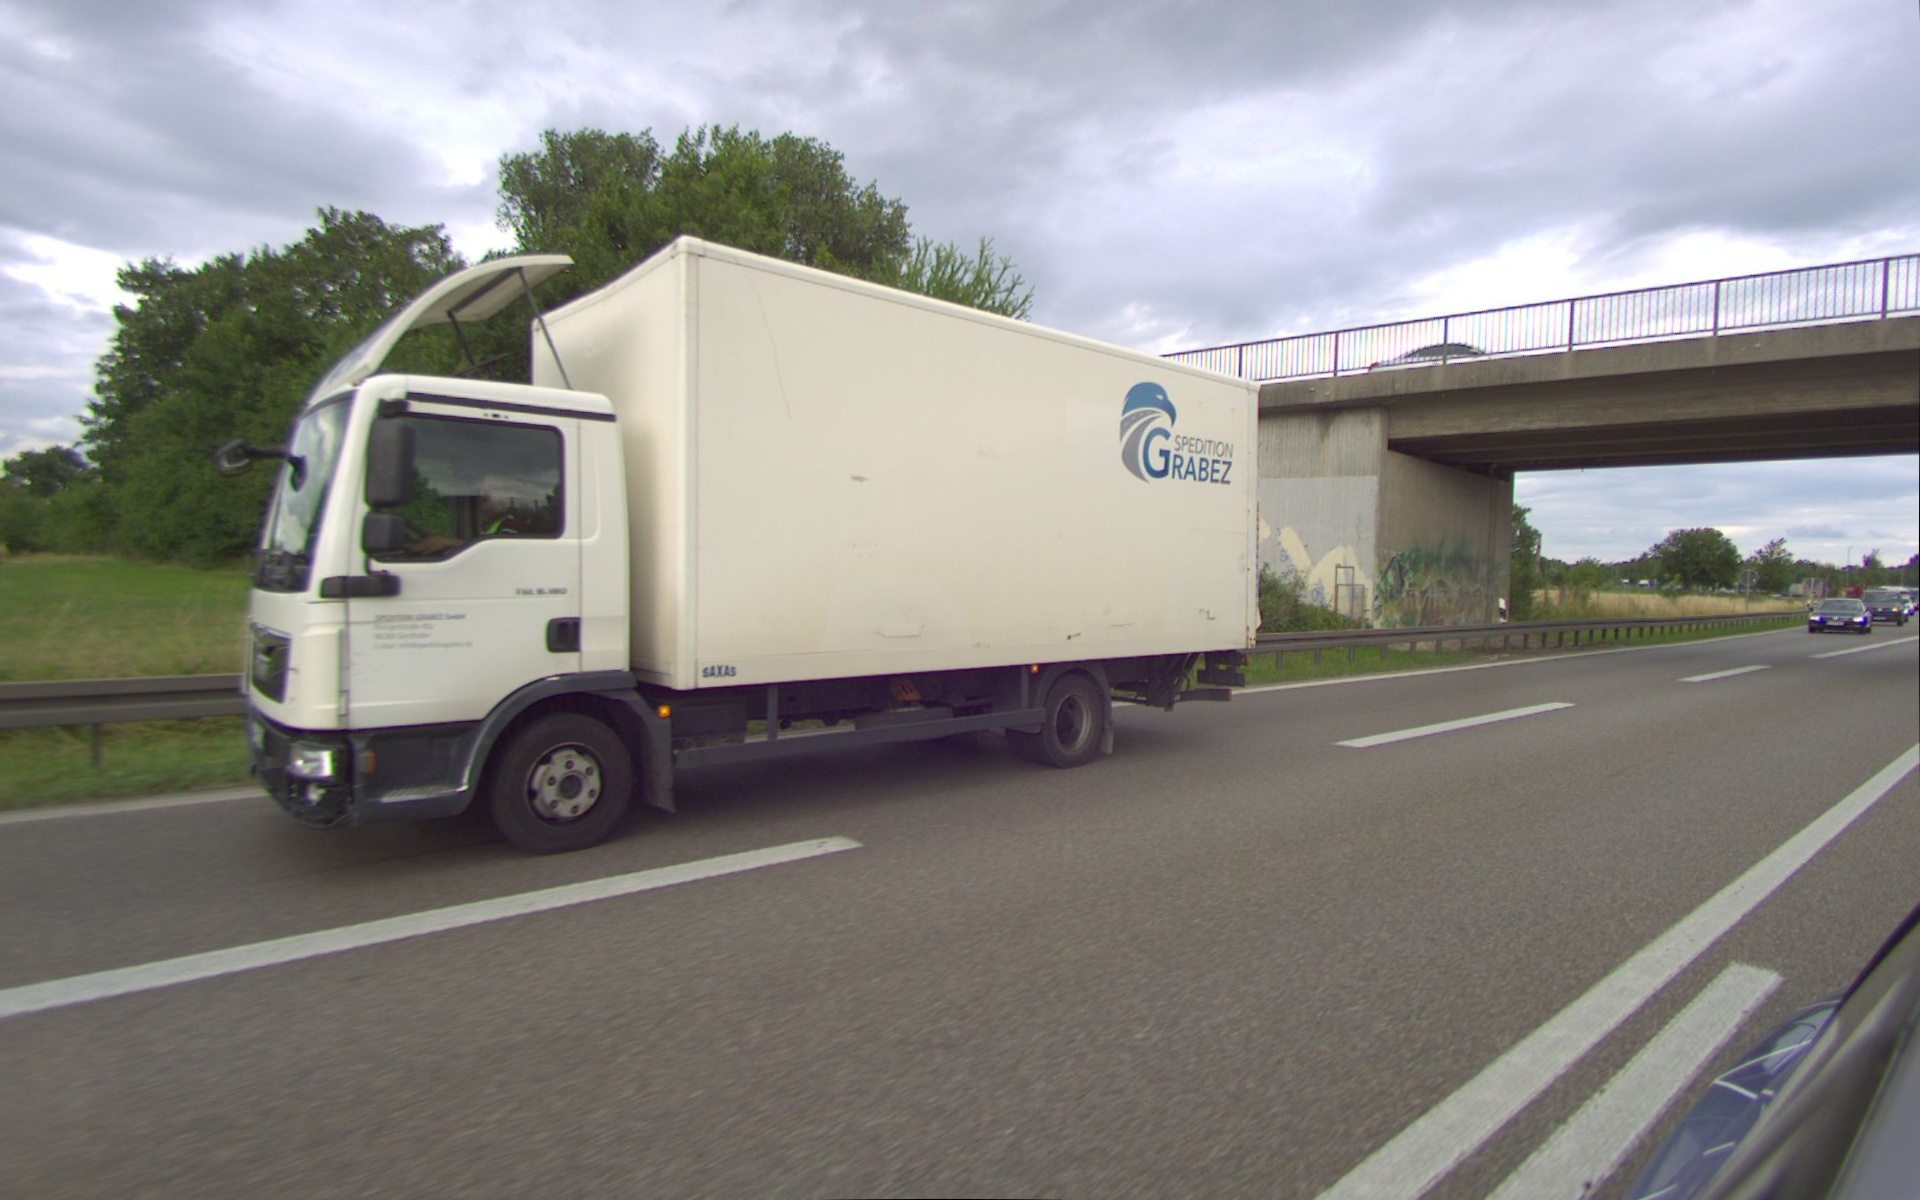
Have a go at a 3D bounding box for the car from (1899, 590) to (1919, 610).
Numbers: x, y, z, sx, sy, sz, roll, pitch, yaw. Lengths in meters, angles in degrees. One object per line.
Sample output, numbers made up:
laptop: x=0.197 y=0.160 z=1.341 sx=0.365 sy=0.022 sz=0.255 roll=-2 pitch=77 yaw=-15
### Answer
car: x=90.369 y=0.021 z=95.796 sx=4.980 sy=1.778 sz=1.830 roll=0 pitch=2 yaw=-43

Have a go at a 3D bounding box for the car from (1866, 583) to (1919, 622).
car: x=52.189 y=0.108 z=56.396 sx=4.874 sy=2.089 sz=2.146 roll=0 pitch=1 yaw=-43

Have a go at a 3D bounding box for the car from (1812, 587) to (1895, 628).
car: x=37.456 y=0.293 z=42.396 sx=4.837 sy=1.569 sz=1.922 roll=0 pitch=3 yaw=-41

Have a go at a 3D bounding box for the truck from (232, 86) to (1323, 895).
truck: x=-0.582 y=-0.511 z=8.501 sx=8.738 sy=3.514 sz=3.109 roll=0 pitch=0 yaw=-42

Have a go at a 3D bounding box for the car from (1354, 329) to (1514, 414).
car: x=11.754 y=-5.602 z=25.142 sx=3.322 sy=1.465 sz=1.639 roll=2 pitch=2 yaw=38
